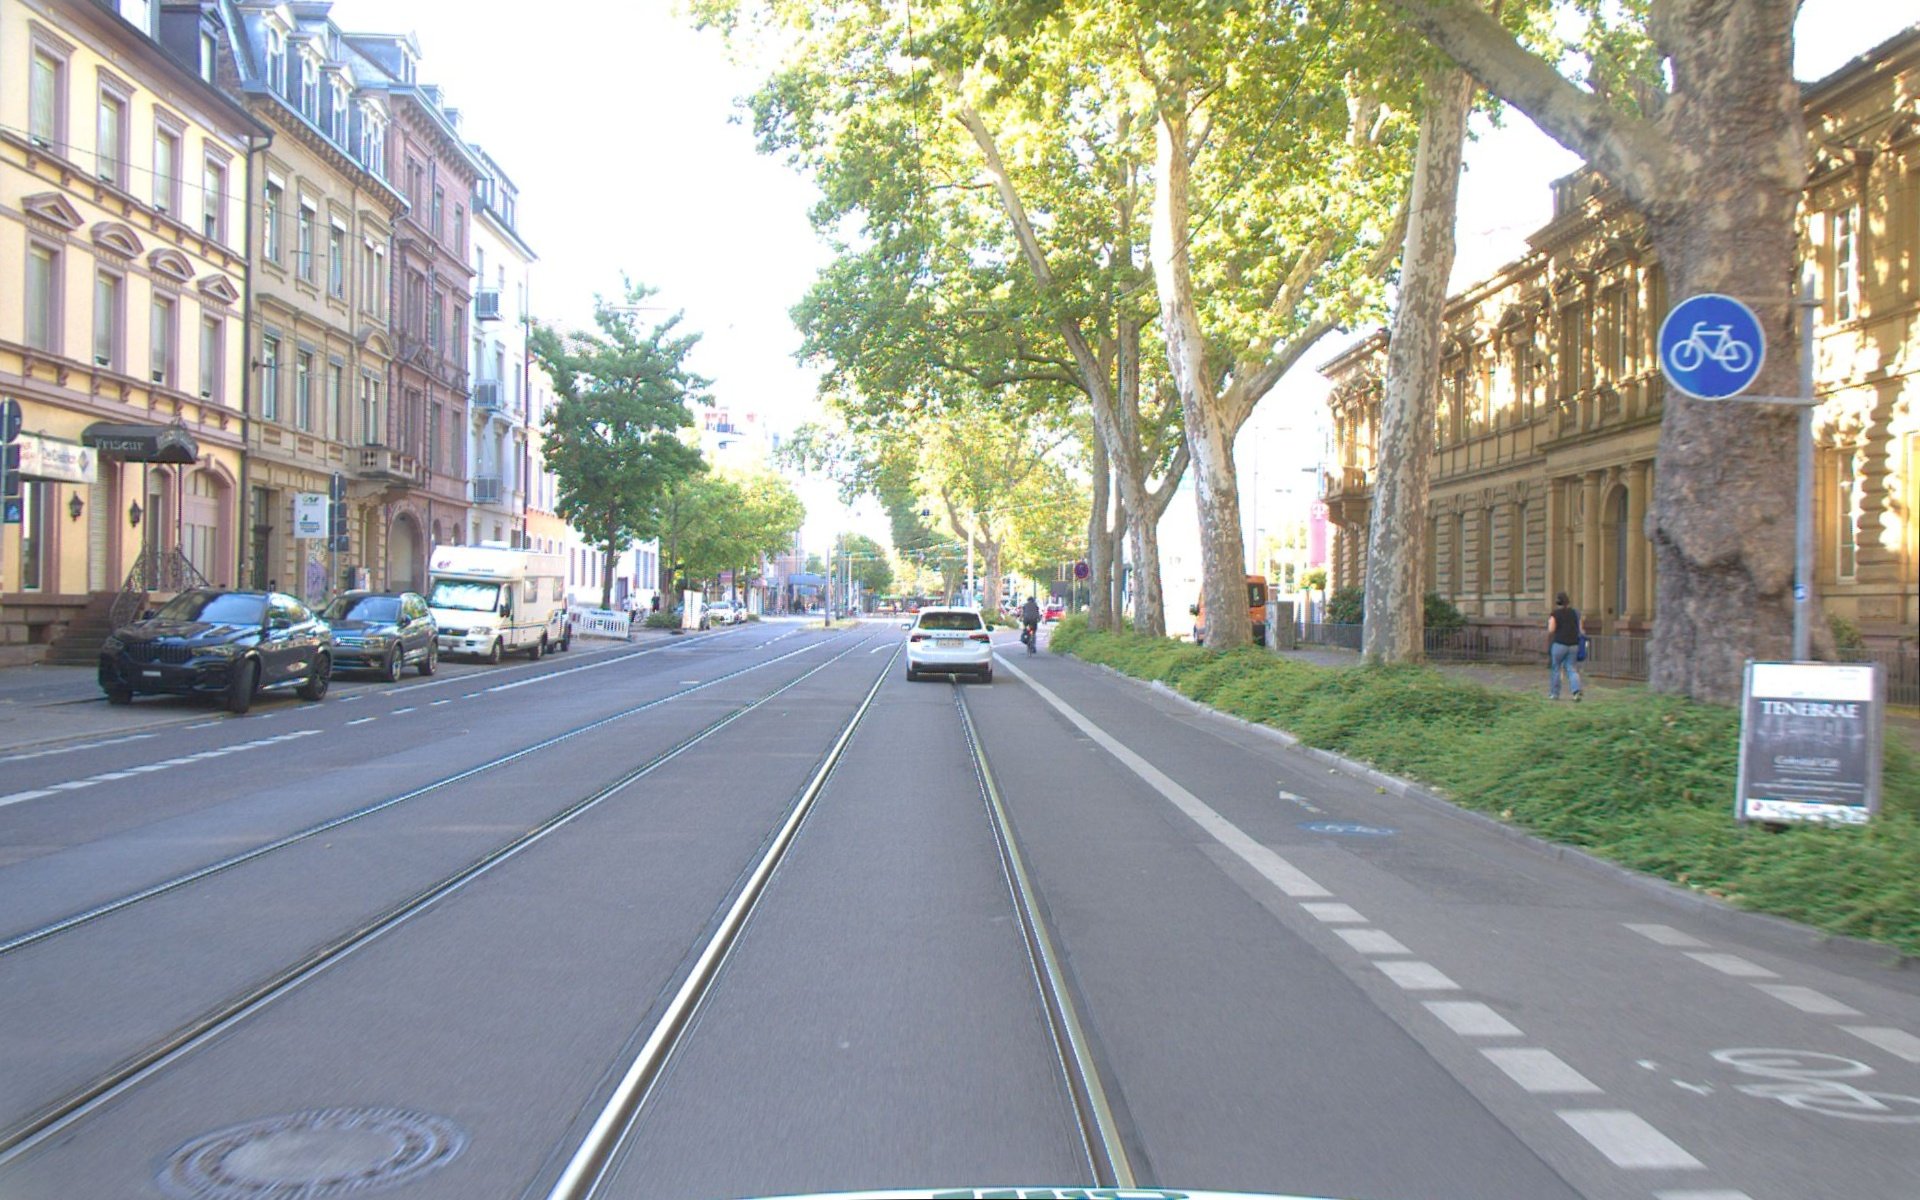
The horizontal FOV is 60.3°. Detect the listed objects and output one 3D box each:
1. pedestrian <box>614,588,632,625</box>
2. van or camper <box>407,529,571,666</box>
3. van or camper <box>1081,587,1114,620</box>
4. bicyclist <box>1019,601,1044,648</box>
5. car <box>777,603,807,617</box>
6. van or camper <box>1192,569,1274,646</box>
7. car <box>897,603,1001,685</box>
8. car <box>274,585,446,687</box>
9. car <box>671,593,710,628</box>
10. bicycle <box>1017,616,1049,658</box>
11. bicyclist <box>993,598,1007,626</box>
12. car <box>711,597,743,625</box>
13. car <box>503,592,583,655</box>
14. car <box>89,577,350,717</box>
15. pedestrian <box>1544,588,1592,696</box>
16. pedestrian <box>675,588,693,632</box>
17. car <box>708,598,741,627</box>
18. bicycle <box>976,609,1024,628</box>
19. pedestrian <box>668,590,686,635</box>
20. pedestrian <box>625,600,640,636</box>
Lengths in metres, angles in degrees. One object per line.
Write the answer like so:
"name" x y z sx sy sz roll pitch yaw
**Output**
"pedestrian" -19.053 0.366 93.599 0.734 2.037 0.646 1 -1 36
"van or camper" -11.998 -0.053 42.751 2.171 3.195 7.112 1 0 -1
"van or camper" 10.295 0.244 124.069 1.953 2.384 3.999 2 0 -1
"bicyclist" 2.126 0.734 48.996 0.665 1.362 0.525 2 -1 -2
"car" -22.900 1.364 225.697 3.714 1.850 1.804 2 -1 4
"van or camper" 9.552 0.268 58.346 1.986 2.507 5.107 2 0 0
"car" -0.283 0.845 33.181 1.806 1.506 3.835 2 0 -4
"car" -11.663 0.666 32.464 1.925 1.813 4.467 2 0 -4
"car" -14.310 0.561 88.008 1.608 1.756 3.781 2 0 -4
"bicycle" 2.141 1.066 48.955 0.666 1.175 2.963 2 0 -2
"bicyclist" 2.337 0.721 96.724 0.721 1.617 0.587 0 0 10
"car" -15.585 0.721 110.687 1.758 1.756 3.781 2 0 -4
"car" -12.389 0.676 49.333 1.608 1.756 3.781 2 0 -4
"car" -11.056 0.653 25.154 1.925 1.812 4.934 3 0 -4
"pedestrian" 9.683 0.663 26.364 0.634 1.661 0.872 2 -1 17
"pedestrian" -12.708 0.459 76.141 0.633 2.037 0.750 1 0 2
"car" -15.055 0.778 105.990 1.758 1.756 3.781 2 0 -4
"bicycle" 2.356 1.068 96.726 2.711 1.017 0.593 2 -1 12
"pedestrian" -12.837 0.579 75.112 0.588 2.037 0.750 1 0 2
"pedestrian" -16.575 0.890 83.687 0.589 1.803 0.700 2 -1 -6
